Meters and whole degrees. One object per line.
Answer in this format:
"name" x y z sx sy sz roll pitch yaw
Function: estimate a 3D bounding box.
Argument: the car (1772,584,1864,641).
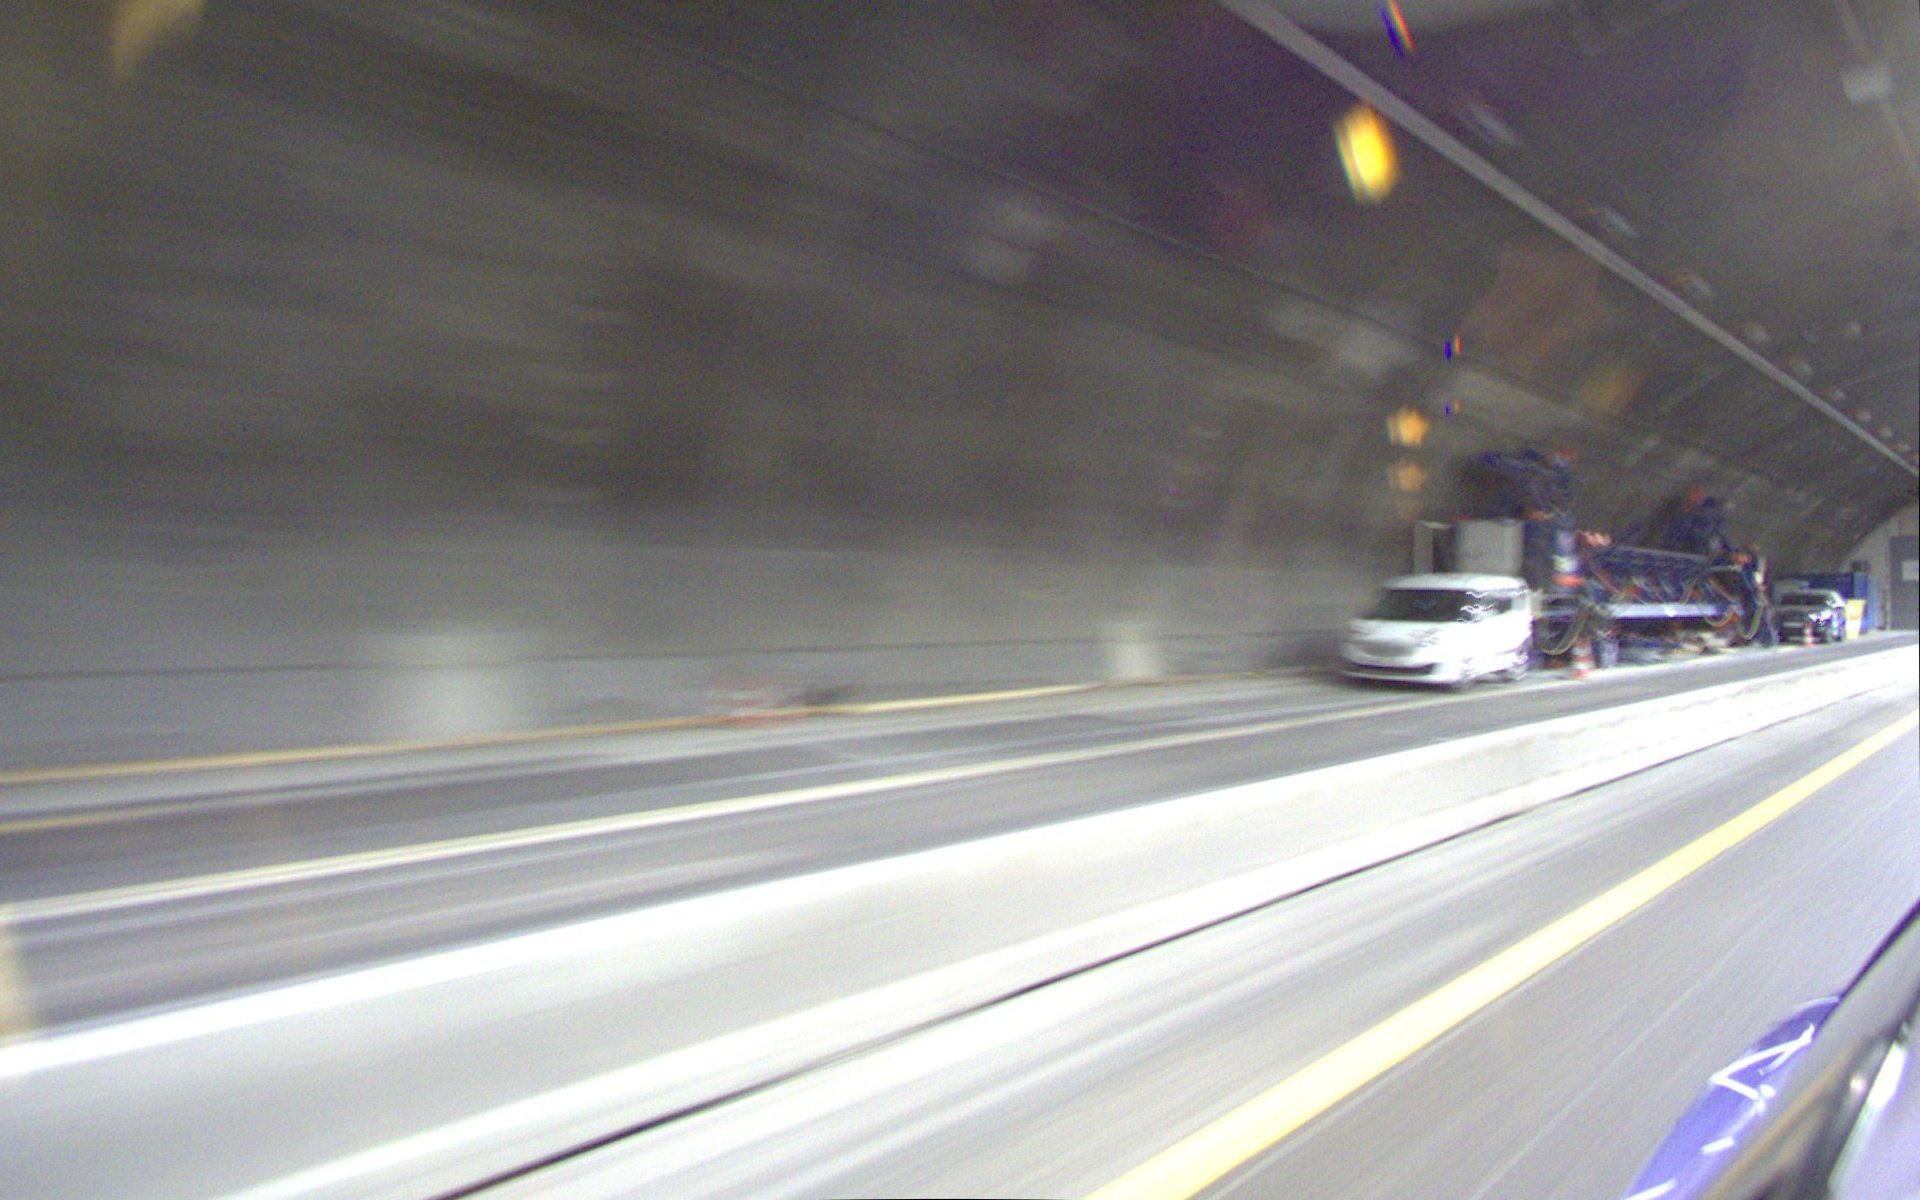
"car" 30.527 0.402 35.957 5.349 1.882 1.830 0 0 -42

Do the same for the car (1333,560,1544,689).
"car" 8.086 0.338 16.898 1.752 1.868 4.570 2 1 45
